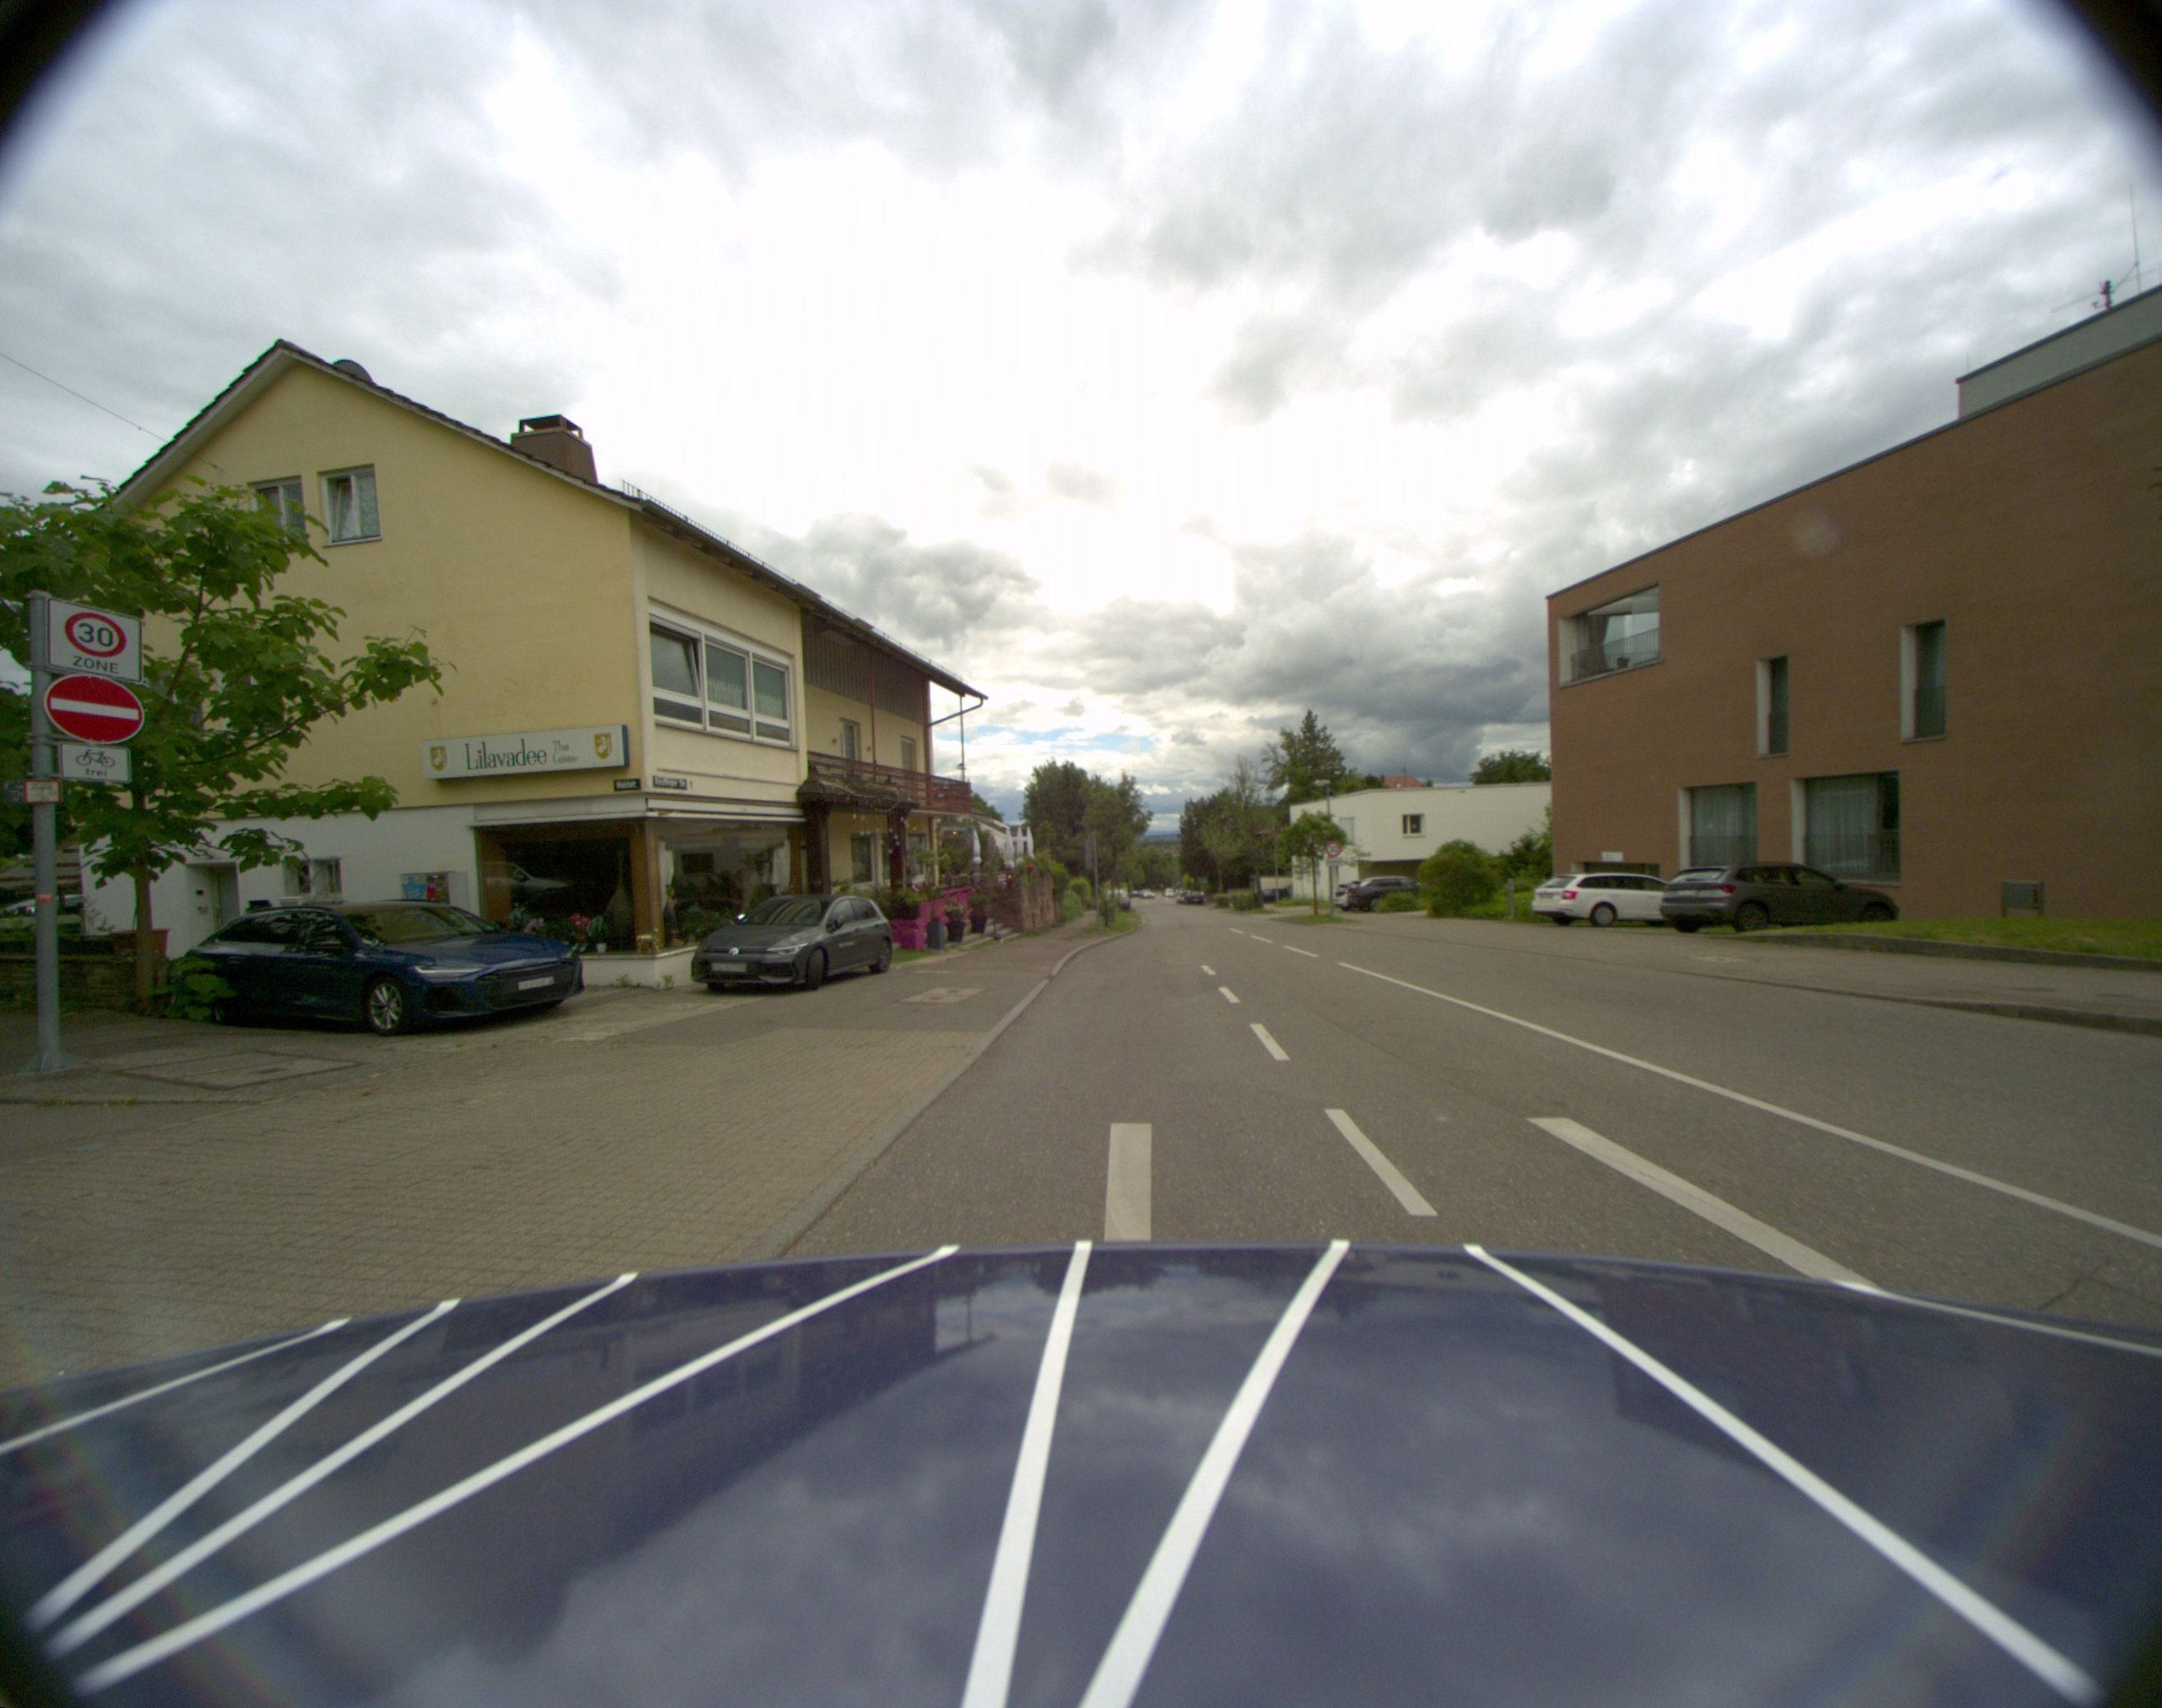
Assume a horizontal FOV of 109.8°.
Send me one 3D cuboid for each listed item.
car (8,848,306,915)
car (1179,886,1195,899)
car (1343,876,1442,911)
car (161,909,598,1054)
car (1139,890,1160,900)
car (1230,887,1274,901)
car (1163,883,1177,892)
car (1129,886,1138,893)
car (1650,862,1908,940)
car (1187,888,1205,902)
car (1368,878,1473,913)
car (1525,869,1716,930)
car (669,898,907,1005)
[{"bbox_3d":[-22.706,0.750,18.947,1.795,1.452,4.336,-2,-4,22],"label":"car"},{"bbox_3d":[12.485,4.561,89.572,1.661,1.412,4.372,-2,-3,6],"label":"car"},{"bbox_3d":[15.048,1.917,36.873,3.996,1.585,1.795,-2,-3,3],"label":"car"},{"bbox_3d":[-8.535,1.419,9.283,4.739,1.378,1.802,-2,-1,18],"label":"car"},{"bbox_3d":[11.035,6.593,122.764,1.886,1.412,4.362,-1,-1,-18],"label":"car"},{"bbox_3d":[16.536,3.889,73.726,3.995,1.278,1.665,-2,-3,7],"label":"car"},{"bbox_3d":[16.191,6.080,137.969,1.884,1.412,4.368,-1,-1,-2],"label":"car"},{"bbox_3d":[12.551,8.590,183.191,1.883,1.412,4.369,-1,-1,1],"label":"car"},{"bbox_3d":[14.906,1.000,16.368,3.998,1.476,1.727,-1,-3,-3],"label":"car"},{"bbox_3d":[12.169,4.305,80.574,1.661,1.412,4.004,-2,-3,5],"label":"car"},{"bbox_3d":[15.593,1.898,35.032,3.996,1.476,1.728,-2,-3,3],"label":"car"},{"bbox_3d":[14.608,1.226,20.709,3.998,1.476,1.727,-1,-3,-3],"label":"car"},{"bbox_3d":[-4.550,1.480,12.621,1.796,1.452,4.332,-1,-4,8],"label":"car"}]
